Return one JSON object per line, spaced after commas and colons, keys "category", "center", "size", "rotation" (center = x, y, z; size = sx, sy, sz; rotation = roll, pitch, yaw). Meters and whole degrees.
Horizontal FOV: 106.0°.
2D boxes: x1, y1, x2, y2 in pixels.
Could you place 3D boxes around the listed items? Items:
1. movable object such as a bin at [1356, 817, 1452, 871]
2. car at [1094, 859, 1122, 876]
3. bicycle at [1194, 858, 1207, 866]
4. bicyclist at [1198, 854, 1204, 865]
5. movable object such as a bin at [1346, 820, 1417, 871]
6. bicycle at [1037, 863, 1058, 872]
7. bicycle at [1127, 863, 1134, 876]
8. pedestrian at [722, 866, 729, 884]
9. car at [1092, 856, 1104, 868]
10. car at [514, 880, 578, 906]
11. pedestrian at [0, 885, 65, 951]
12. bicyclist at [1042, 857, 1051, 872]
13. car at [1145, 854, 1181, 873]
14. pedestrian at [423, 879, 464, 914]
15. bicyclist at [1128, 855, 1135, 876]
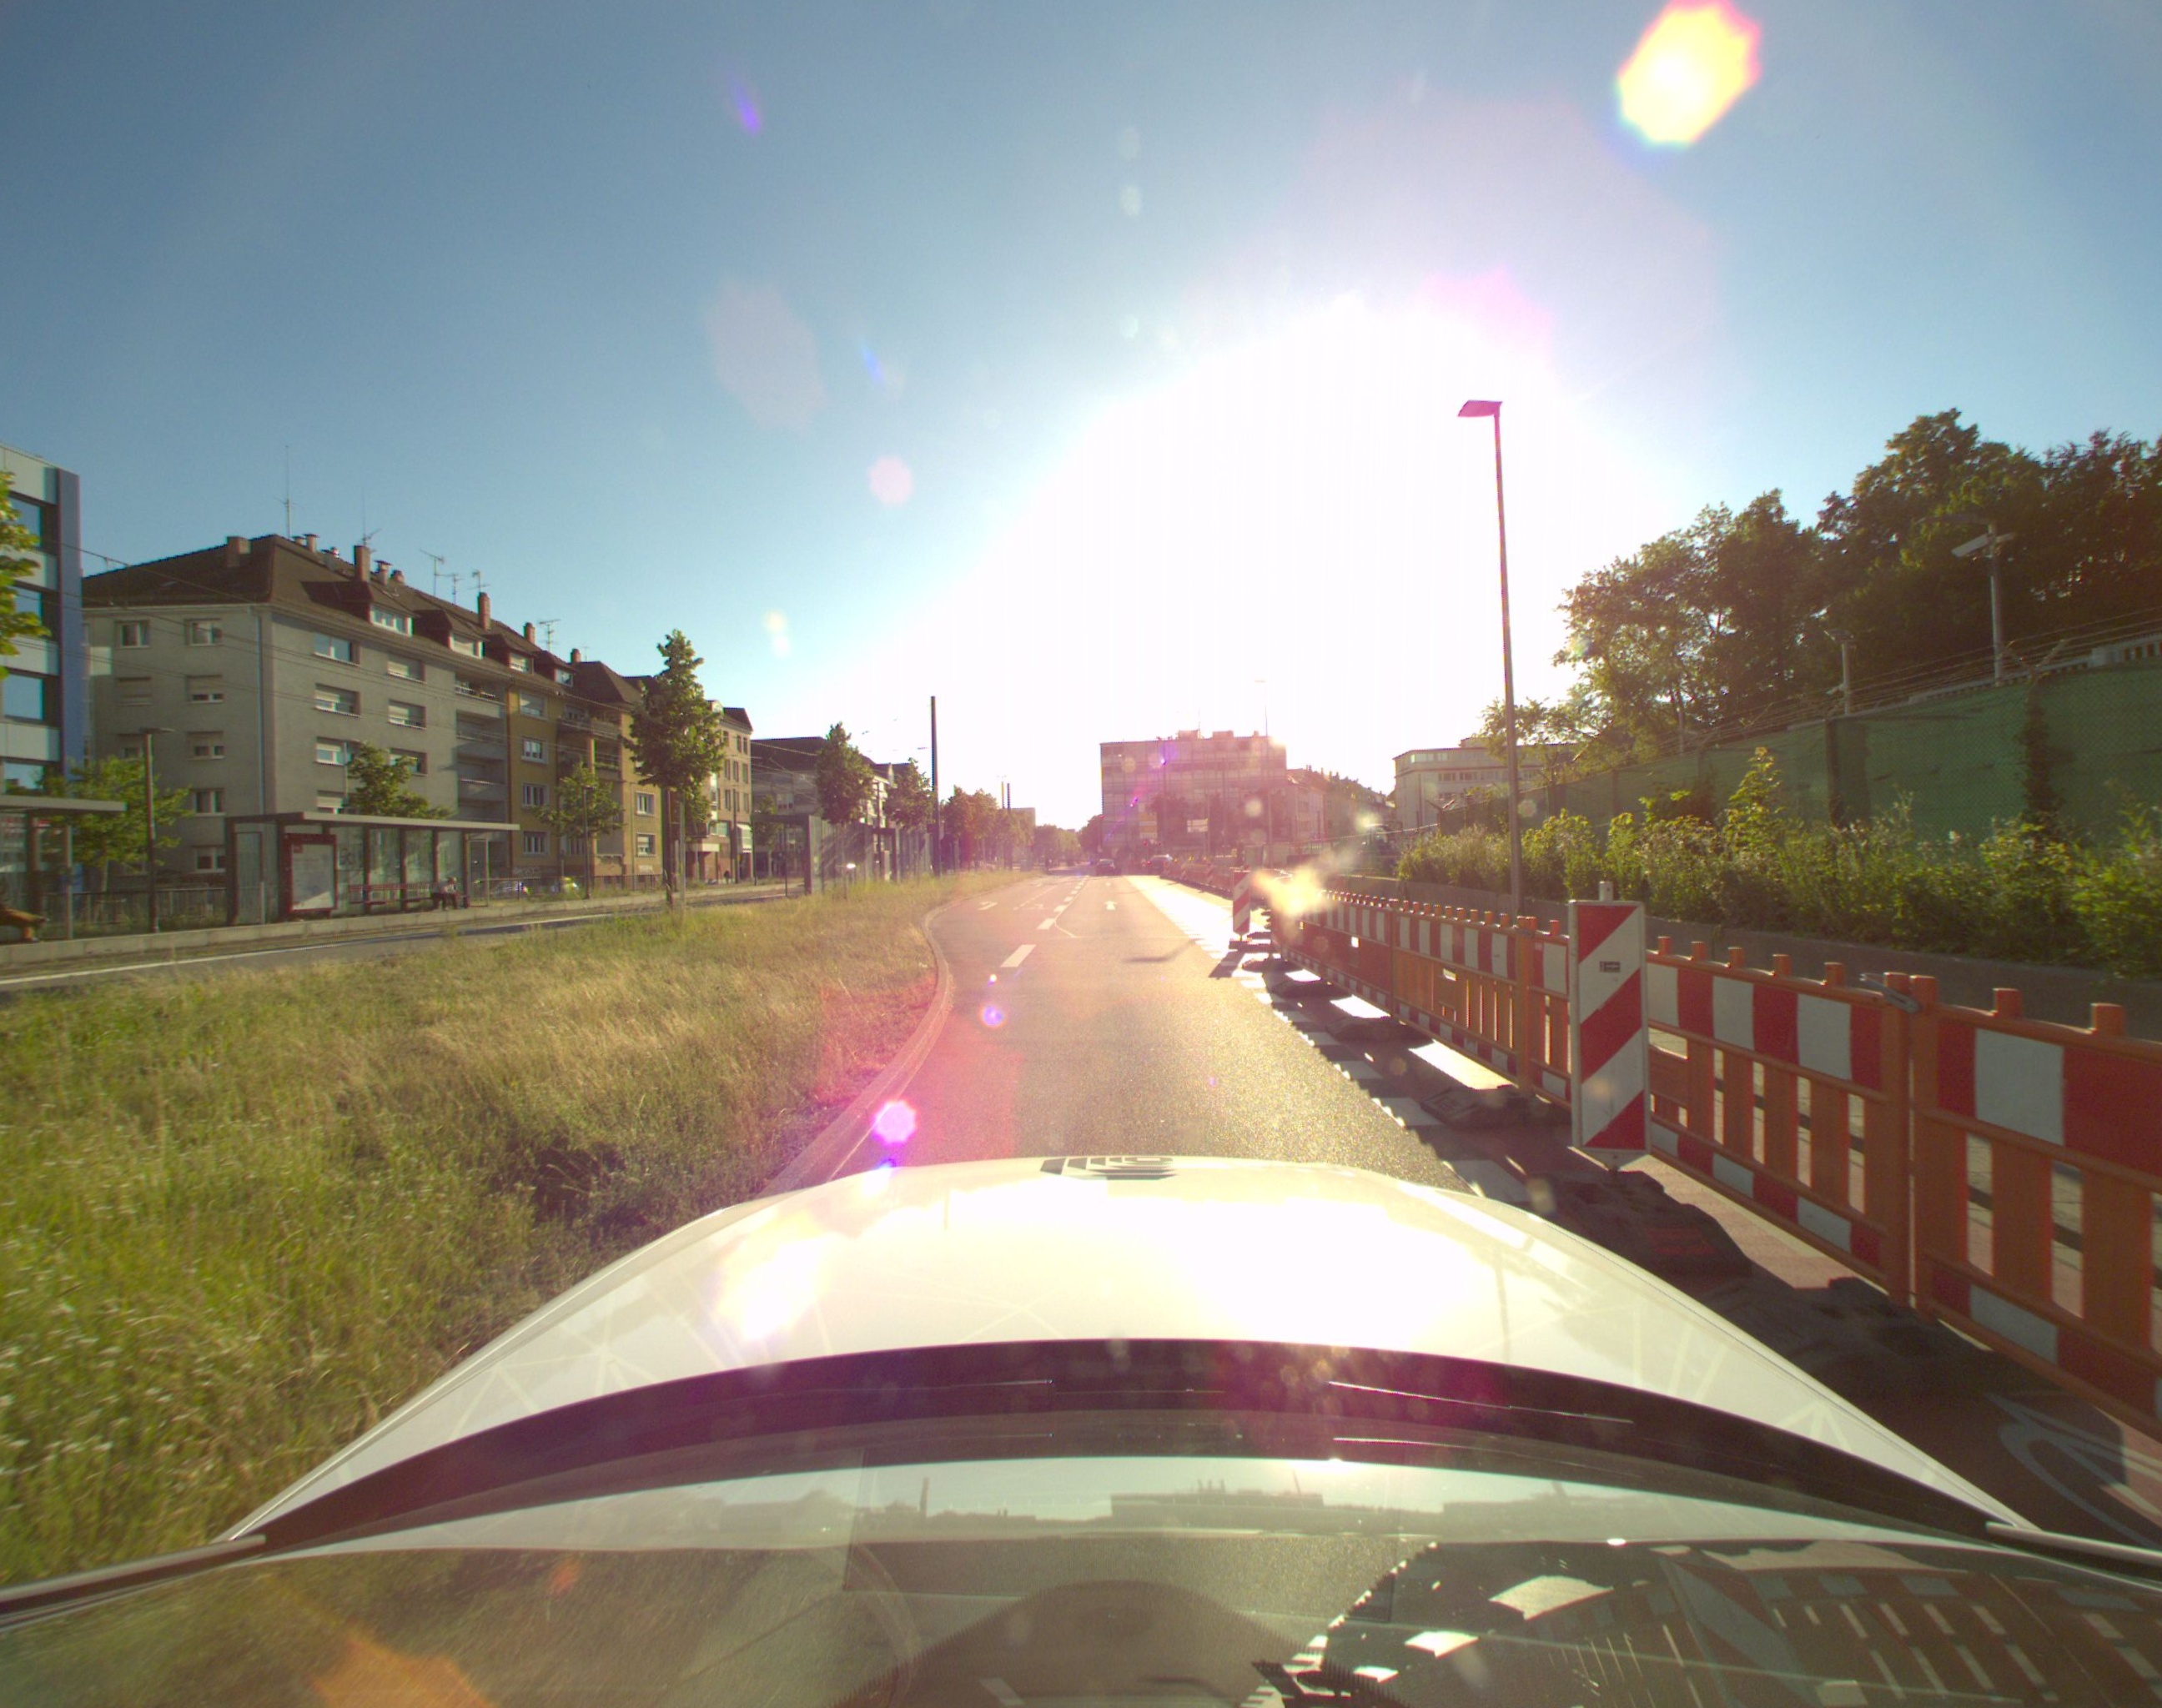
{"category": "movable object such as a bin", "center": [22.905, -0.660, 57.830], "size": [6.005, 3.558, 2.879], "rotation": [-2, -1, 26]}
{"category": "car", "center": [2.436, 1.200, 73.507], "size": [1.731, 1.426, 4.014], "rotation": [-2, 0, 13]}
{"category": "bicycle", "center": [17.625, 1.164, 120.056], "size": [1.731, 1.059, 0.538], "rotation": [-2, -1, -9]}
{"category": "bicyclist", "center": [17.677, 0.825, 120.066], "size": [0.663, 1.712, 0.537], "rotation": [-2, -1, -9]}
{"category": "movable object such as a bin", "center": [17.188, -0.449, 46.890], "size": [2.268, 2.704, 4.943], "rotation": [-2, 0, 1]}
{"category": "bicycle", "center": [-3.833, 1.522, 92.990], "size": [2.216, 1.026, 0.683], "rotation": [-1, -1, 4]}
{"category": "bicycle", "center": [4.841, 1.524, 79.865], "size": [0.642, 1.223, 2.049], "rotation": [0, 1, 2]}
{"category": "pedestrian", "center": [-36.049, 2.121, 82.596], "size": [0.483, 1.822, 0.548], "rotation": [-1, -1, -2]}
{"category": "car", "center": [3.682, 1.783, 177.443], "size": [2.477, 2.392, 5.934], "rotation": [-3, -1, 1]}
{"category": "car", "center": [-34.526, 2.516, 52.678], "size": [1.741, 1.486, 3.553], "rotation": [-2, 0, 1]}
{"category": "pedestrian", "center": [-20.363, 1.218, 15.556], "size": [0.930, 1.197, 0.764], "rotation": [-2, -1, 1]}
{"category": "bicyclist", "center": [-3.915, 1.211, 92.998], "size": [0.954, 1.661, 0.692], "rotation": [-1, -1, 4]}
{"category": "car", "center": [7.683, 0.867, 75.776], "size": [1.975, 1.693, 4.024], "rotation": [0, 1, 27]}
{"category": "pedestrian", "center": [-19.889, 1.315, 25.423], "size": [0.625, 1.047, 0.794], "rotation": [-2, -1, 1]}
{"category": "bicyclist", "center": [4.940, 1.113, 80.041], "size": [0.641, 2.013, 1.067], "rotation": [0, 1, 2]}
